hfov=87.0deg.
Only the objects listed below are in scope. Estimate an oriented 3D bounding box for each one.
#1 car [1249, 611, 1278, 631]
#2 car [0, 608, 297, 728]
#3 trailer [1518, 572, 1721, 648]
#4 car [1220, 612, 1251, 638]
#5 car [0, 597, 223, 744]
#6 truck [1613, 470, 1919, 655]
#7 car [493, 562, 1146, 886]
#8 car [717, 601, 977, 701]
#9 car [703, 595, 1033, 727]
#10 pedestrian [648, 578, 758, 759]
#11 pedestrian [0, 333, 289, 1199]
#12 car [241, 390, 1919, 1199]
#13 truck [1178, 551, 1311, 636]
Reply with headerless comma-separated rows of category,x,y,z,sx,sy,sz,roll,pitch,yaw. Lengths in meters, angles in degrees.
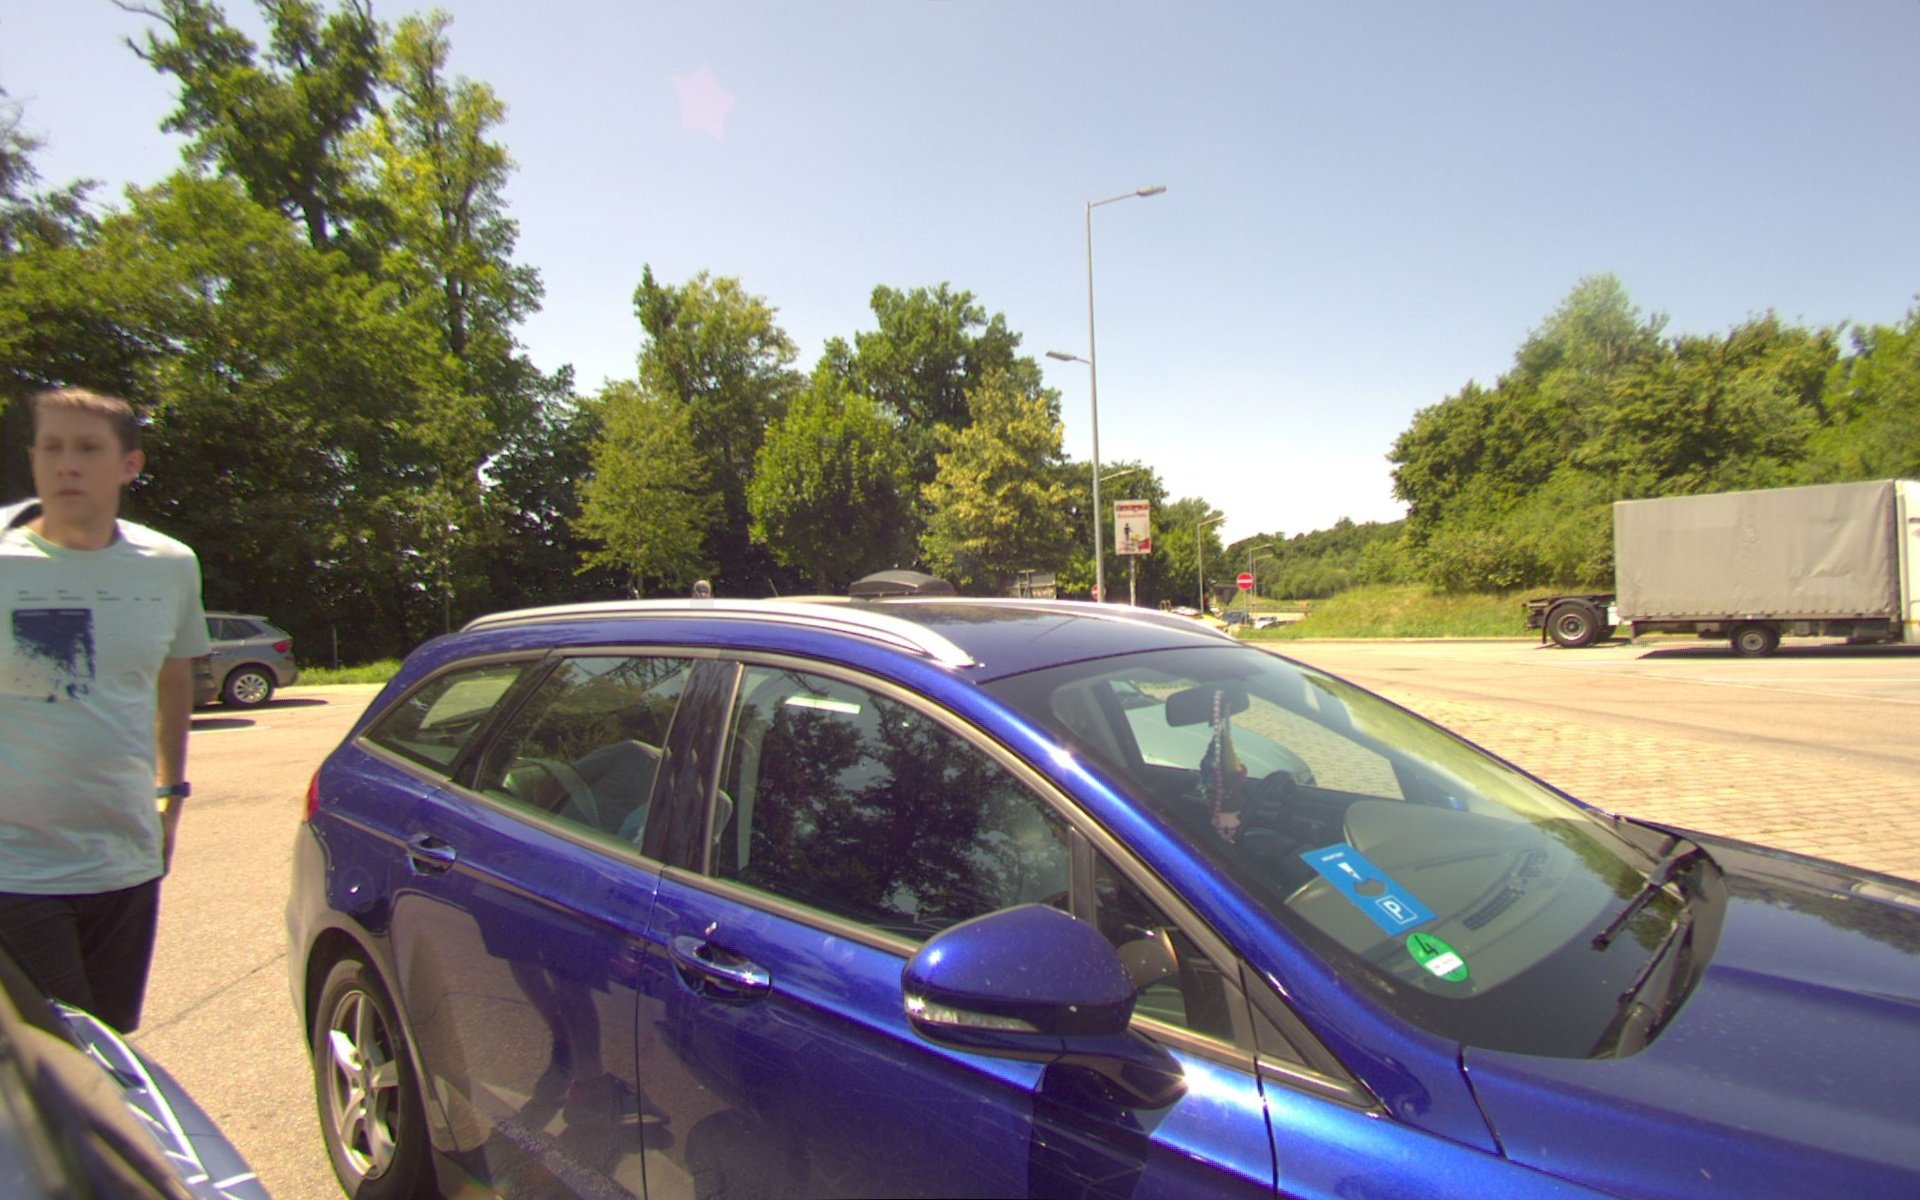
car,25.680,1.770,85.534,1.986,1.530,3.971,-2,-1,21
car,-12.710,0.975,15.613,3.910,1.598,1.782,-1,-1,-43
trailer,15.780,0.276,24.327,3.900,1.674,1.456,-2,-1,41
car,17.858,1.596,65.521,1.700,1.547,3.830,-2,-1,18
car,-11.681,0.850,12.562,3.910,1.701,1.782,-1,-1,-43
truck,16.752,-0.640,18.856,7.348,3.152,2.339,-3,-2,41
car,-1.187,0.633,6.735,4.466,1.476,1.756,-3,-1,40
car,-2.011,0.831,17.091,4.466,1.476,1.756,-3,-1,40
car,-1.358,0.759,13.538,4.466,1.476,1.756,-3,-1,40
pedestrian,-2.421,0.621,9.538,0.759,1.614,0.663,-3,-1,41
pedestrian,-1.786,0.415,1.951,0.578,1.722,0.678,-3,-2,41
car,0.242,0.633,2.106,4.466,1.476,1.756,-3,-1,40
truck,13.333,-0.245,47.425,5.782,3.720,1.987,-2,-1,20
